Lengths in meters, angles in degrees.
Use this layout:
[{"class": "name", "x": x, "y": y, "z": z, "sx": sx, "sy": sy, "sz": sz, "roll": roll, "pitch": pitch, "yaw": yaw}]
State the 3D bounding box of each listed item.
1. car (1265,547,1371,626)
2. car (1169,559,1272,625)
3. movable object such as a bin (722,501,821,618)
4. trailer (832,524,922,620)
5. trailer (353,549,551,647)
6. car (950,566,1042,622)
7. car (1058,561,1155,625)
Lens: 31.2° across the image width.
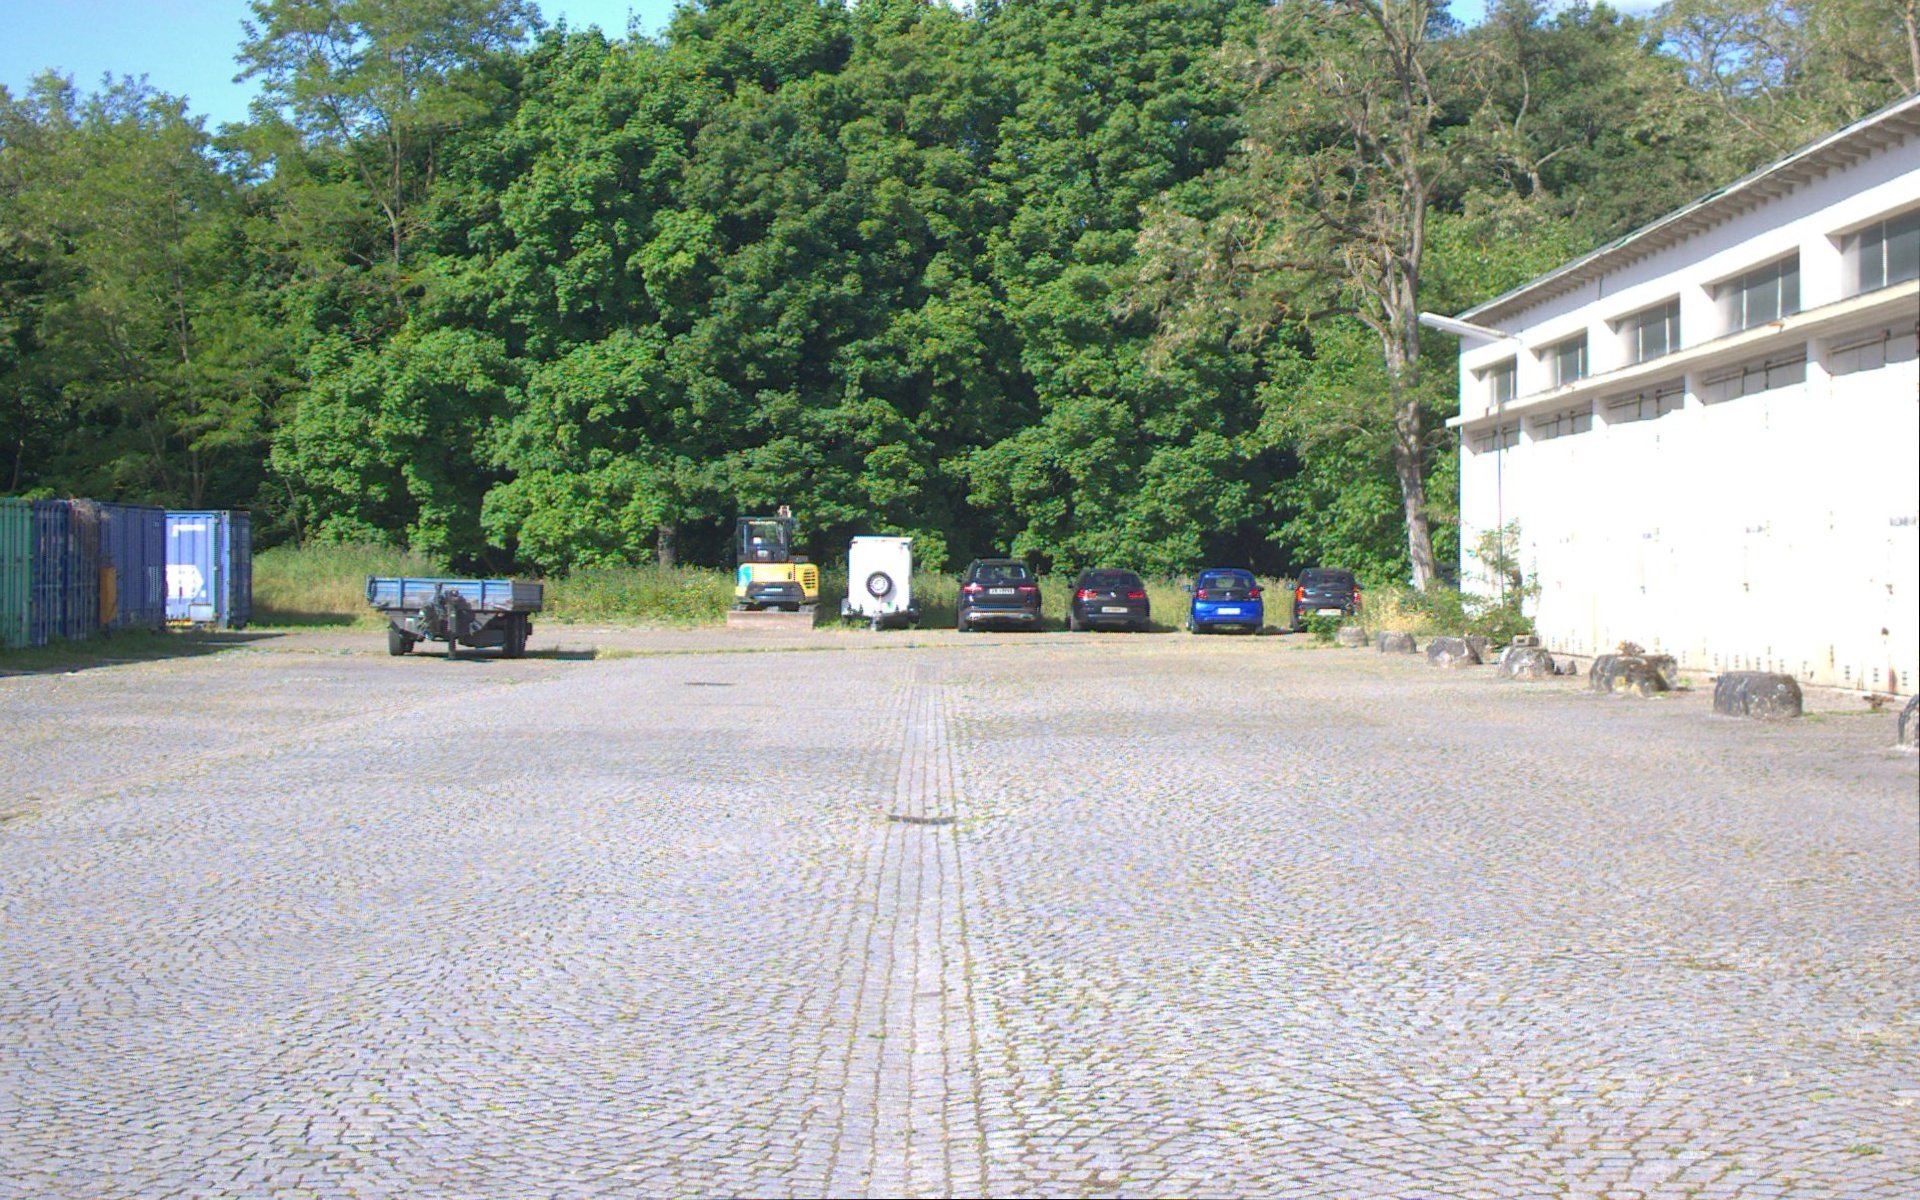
[{"class": "car", "x": 8.254, "y": -0.322, "z": 79.569, "sx": 1.993, "sy": 1.766, "sz": 4.000, "roll": 0, "pitch": 1, "yaw": -1}, {"class": "car", "x": 5.902, "y": -0.199, "z": 78.321, "sx": 1.993, "sy": 1.461, "sz": 4.000, "roll": 0, "pitch": 1, "yaw": -1}, {"class": "movable object such as a bin", "x": -4.366, "y": -0.932, "z": 79.927, "sx": 2.231, "sy": 2.648, "sz": 4.001, "roll": 0, "pitch": 1, "yaw": -3}, {"class": "trailer", "x": -1.896, "y": -0.649, "z": 79.176, "sx": 1.993, "sy": 2.155, "sz": 4.432, "roll": 0, "pitch": 1, "yaw": -1}, {"class": "trailer", "x": -8.881, "y": -0.057, "z": 60.613, "sx": 2.791, "sy": 1.640, "sz": 5.621, "roll": 0, "pitch": 0, "yaw": -1}, {"class": "car", "x": 0.784, "y": -0.152, "z": 77.950, "sx": 1.993, "sy": 1.254, "sz": 4.000, "roll": 0, "pitch": 1, "yaw": -1}, {"class": "car", "x": 3.309, "y": -0.171, "z": 78.328, "sx": 1.993, "sy": 1.419, "sz": 4.000, "roll": 0, "pitch": 1, "yaw": -1}]
